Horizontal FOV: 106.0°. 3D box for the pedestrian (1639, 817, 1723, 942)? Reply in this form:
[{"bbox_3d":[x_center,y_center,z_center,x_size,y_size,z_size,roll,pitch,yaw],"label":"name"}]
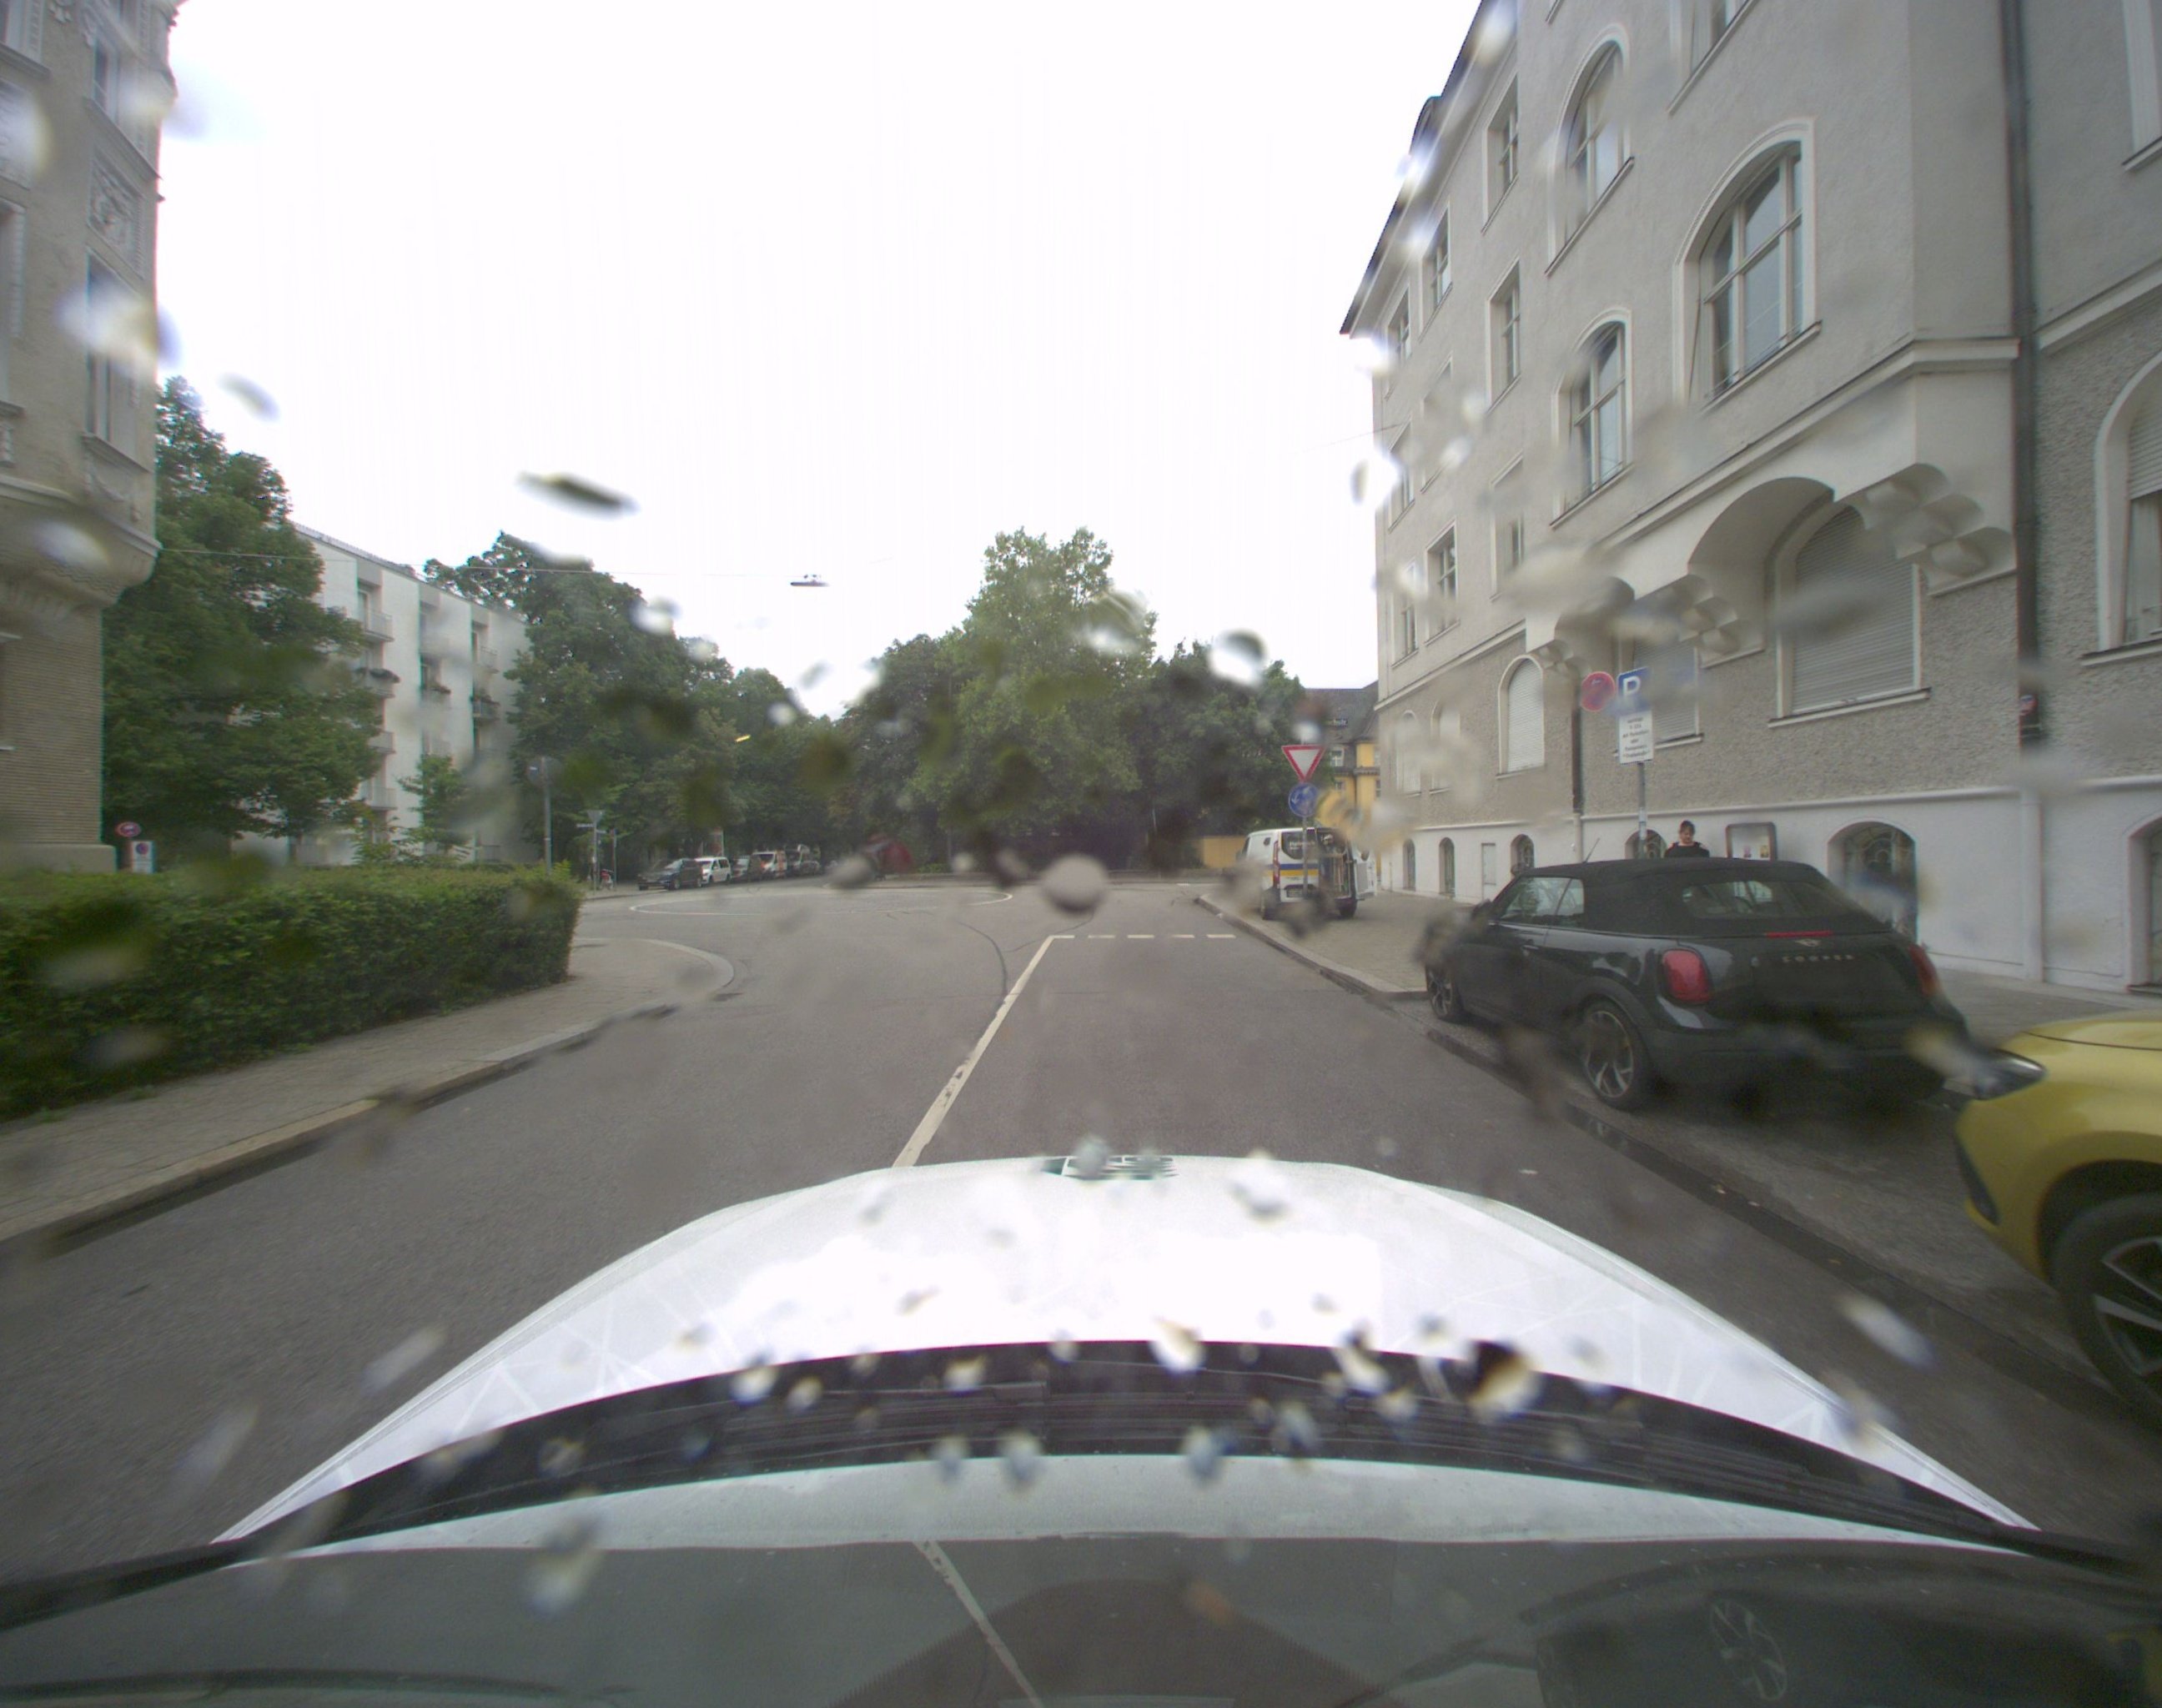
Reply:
[{"bbox_3d":[8.651,0.369,11.745,0.697,1.737,0.727,-1,-4,-44],"label":"pedestrian"}]

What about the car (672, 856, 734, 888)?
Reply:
[{"bbox_3d":[-23.385,1.080,50.564,1.923,1.895,4.859,-1,0,-5],"label":"car"}]

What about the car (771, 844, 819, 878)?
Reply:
[{"bbox_3d":[-25.743,0.631,73.650,2.330,2.922,6.570,-1,0,-4],"label":"car"}]

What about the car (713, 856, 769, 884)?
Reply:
[{"bbox_3d":[-23.815,1.101,57.181,2.061,1.859,4.980,-1,0,-4],"label":"car"}]

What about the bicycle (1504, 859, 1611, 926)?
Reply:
[{"bbox_3d":[8.826,0.679,15.220,0.691,1.094,2.284,-3,0,2],"label":"bicycle"}]

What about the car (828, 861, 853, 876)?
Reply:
[{"bbox_3d":[-27.439,1.613,93.008,1.892,1.571,4.067,-1,0,-5],"label":"car"}]

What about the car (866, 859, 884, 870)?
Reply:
[{"bbox_3d":[-30.370,1.551,120.006,1.892,1.571,4.067,-1,0,-5],"label":"car"}]

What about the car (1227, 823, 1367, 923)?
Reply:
[{"bbox_3d":[4.799,0.377,18.913,1.909,1.962,4.927,-2,0,0],"label":"car"}]

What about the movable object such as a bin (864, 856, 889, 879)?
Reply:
[{"bbox_3d":[-12.368,0.816,49.334,1.072,1.267,1.089,-4,0,9],"label":"movable object such as a bin"}]

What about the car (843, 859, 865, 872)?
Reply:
[{"bbox_3d":[-29.016,1.445,104.246,1.892,1.571,4.067,-1,0,-5],"label":"car"}]

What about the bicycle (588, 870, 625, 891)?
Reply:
[{"bbox_3d":[-25.141,1.409,43.186,0.909,1.051,1.969,-1,0,-3],"label":"bicycle"}]

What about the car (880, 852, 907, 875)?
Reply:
[{"bbox_3d":[-16.487,0.808,71.687,2.041,1.922,4.431,-1,0,-9],"label":"car"}]

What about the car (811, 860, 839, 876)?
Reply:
[{"bbox_3d":[-26.543,1.446,84.497,1.892,1.538,4.067,-1,0,-5],"label":"car"}]

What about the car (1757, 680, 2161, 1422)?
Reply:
[{"bbox_3d":[3.529,0.485,0.869,1.842,1.853,4.826,-1,0,4],"label":"car"}]

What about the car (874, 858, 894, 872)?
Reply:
[{"bbox_3d":[-22.127,1.186,91.433,1.787,1.492,3.988,-1,0,-9],"label":"car"}]

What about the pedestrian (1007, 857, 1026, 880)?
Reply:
[{"bbox_3d":[-3.321,0.748,42.024,0.807,1.189,0.921,-1,0,7],"label":"pedestrian"}]

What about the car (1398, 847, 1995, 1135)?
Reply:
[{"bbox_3d":[3.918,0.700,6.139,1.657,1.457,3.898,-1,0,2],"label":"car"}]

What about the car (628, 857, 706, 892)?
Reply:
[{"bbox_3d":[-22.839,1.084,45.158,2.061,1.767,4.900,-1,0,-4],"label":"car"}]

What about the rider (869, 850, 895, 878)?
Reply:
[{"bbox_3d":[-12.246,0.614,50.198,1.076,1.667,1.142,-4,0,9],"label":"rider"}]

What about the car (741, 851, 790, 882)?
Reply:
[{"bbox_3d":[-24.812,0.956,64.323,2.106,2.251,5.188,-1,0,-4],"label":"car"}]
